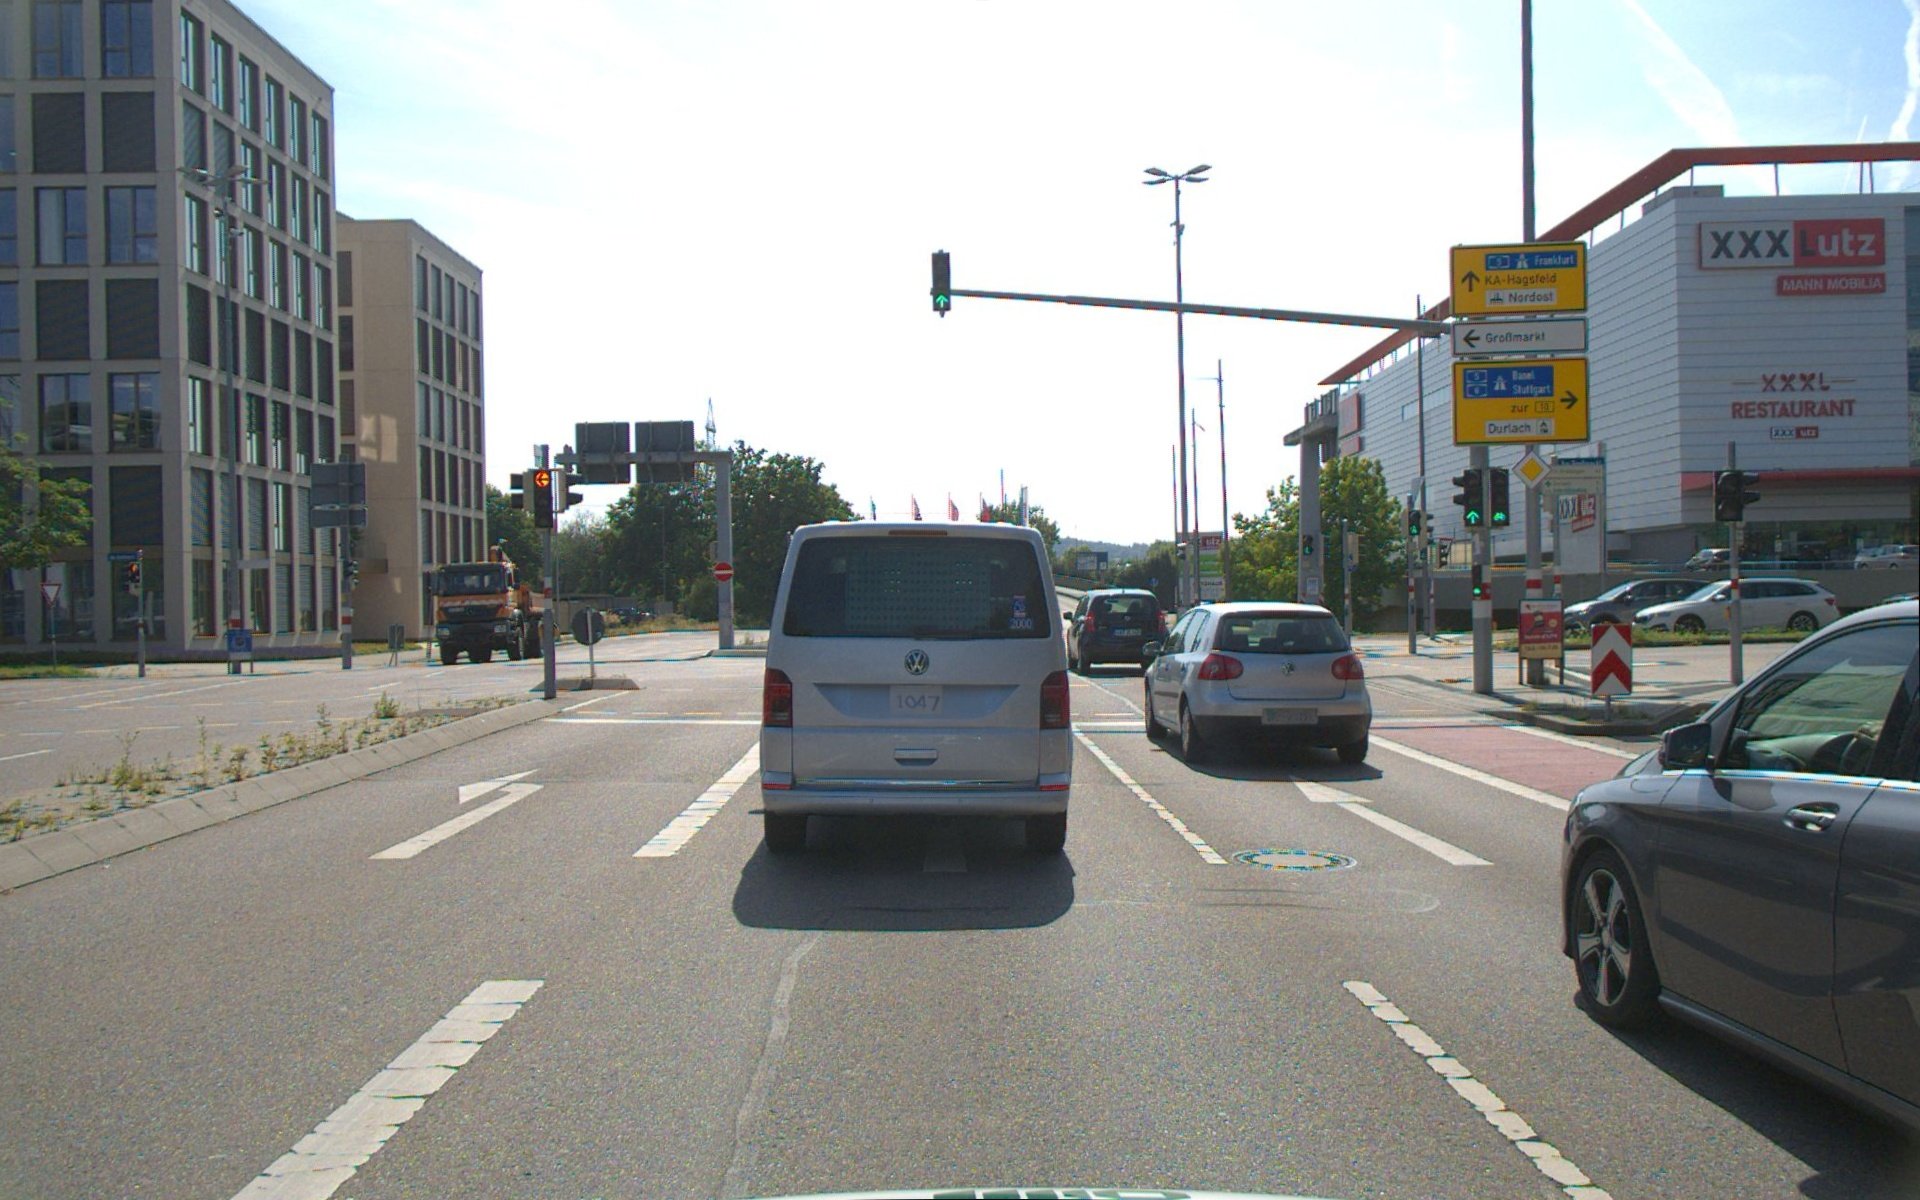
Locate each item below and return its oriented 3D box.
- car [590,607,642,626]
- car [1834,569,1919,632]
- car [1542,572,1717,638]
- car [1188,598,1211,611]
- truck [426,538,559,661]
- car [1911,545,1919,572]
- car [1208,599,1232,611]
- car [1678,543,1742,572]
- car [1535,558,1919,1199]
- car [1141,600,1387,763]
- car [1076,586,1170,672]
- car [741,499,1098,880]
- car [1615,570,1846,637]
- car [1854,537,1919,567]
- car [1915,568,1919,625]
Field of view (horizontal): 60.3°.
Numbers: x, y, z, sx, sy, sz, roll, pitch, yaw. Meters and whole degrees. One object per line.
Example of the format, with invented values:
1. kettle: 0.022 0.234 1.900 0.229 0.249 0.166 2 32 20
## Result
1. car: -28.932 1.386 139.044 4.039 1.445 1.718 -1 -2 -20
2. car: 24.882 -0.025 42.333 3.945 1.535 1.909 -2 -1 2
3. car: 17.327 0.128 42.908 3.803 1.586 1.809 -1 0 3
4. car: 31.105 0.570 215.143 1.849 1.546 3.991 1 -1 -9
5. truck: -15.438 -0.014 55.166 2.692 3.744 7.572 -2 0 -4
6. car: 51.621 -2.207 86.147 1.794 1.444 4.201 -1 0 2
7. car: 33.767 0.648 215.218 1.957 1.445 3.991 1 -1 -9
8. car: 41.707 -2.357 92.081 1.734 1.444 4.201 -1 0 2
9. car: 3.184 0.692 4.415 1.738 1.566 4.136 1 0 -2
10. car: 2.894 0.721 16.458 1.633 1.439 3.680 0 0 -2
11. car: 3.002 0.511 30.939 1.499 1.506 3.596 0 0 1
12. car: -0.246 0.474 10.910 1.878 2.010 4.296 0 0 -1
13. car: 18.506 0.105 39.870 4.618 1.450 1.959 -2 -1 2
14. car: 48.929 -2.494 86.865 1.762 1.444 4.007 -1 0 -1
15. car: 25.177 -0.131 39.296 3.960 1.365 1.724 -1 -1 2
